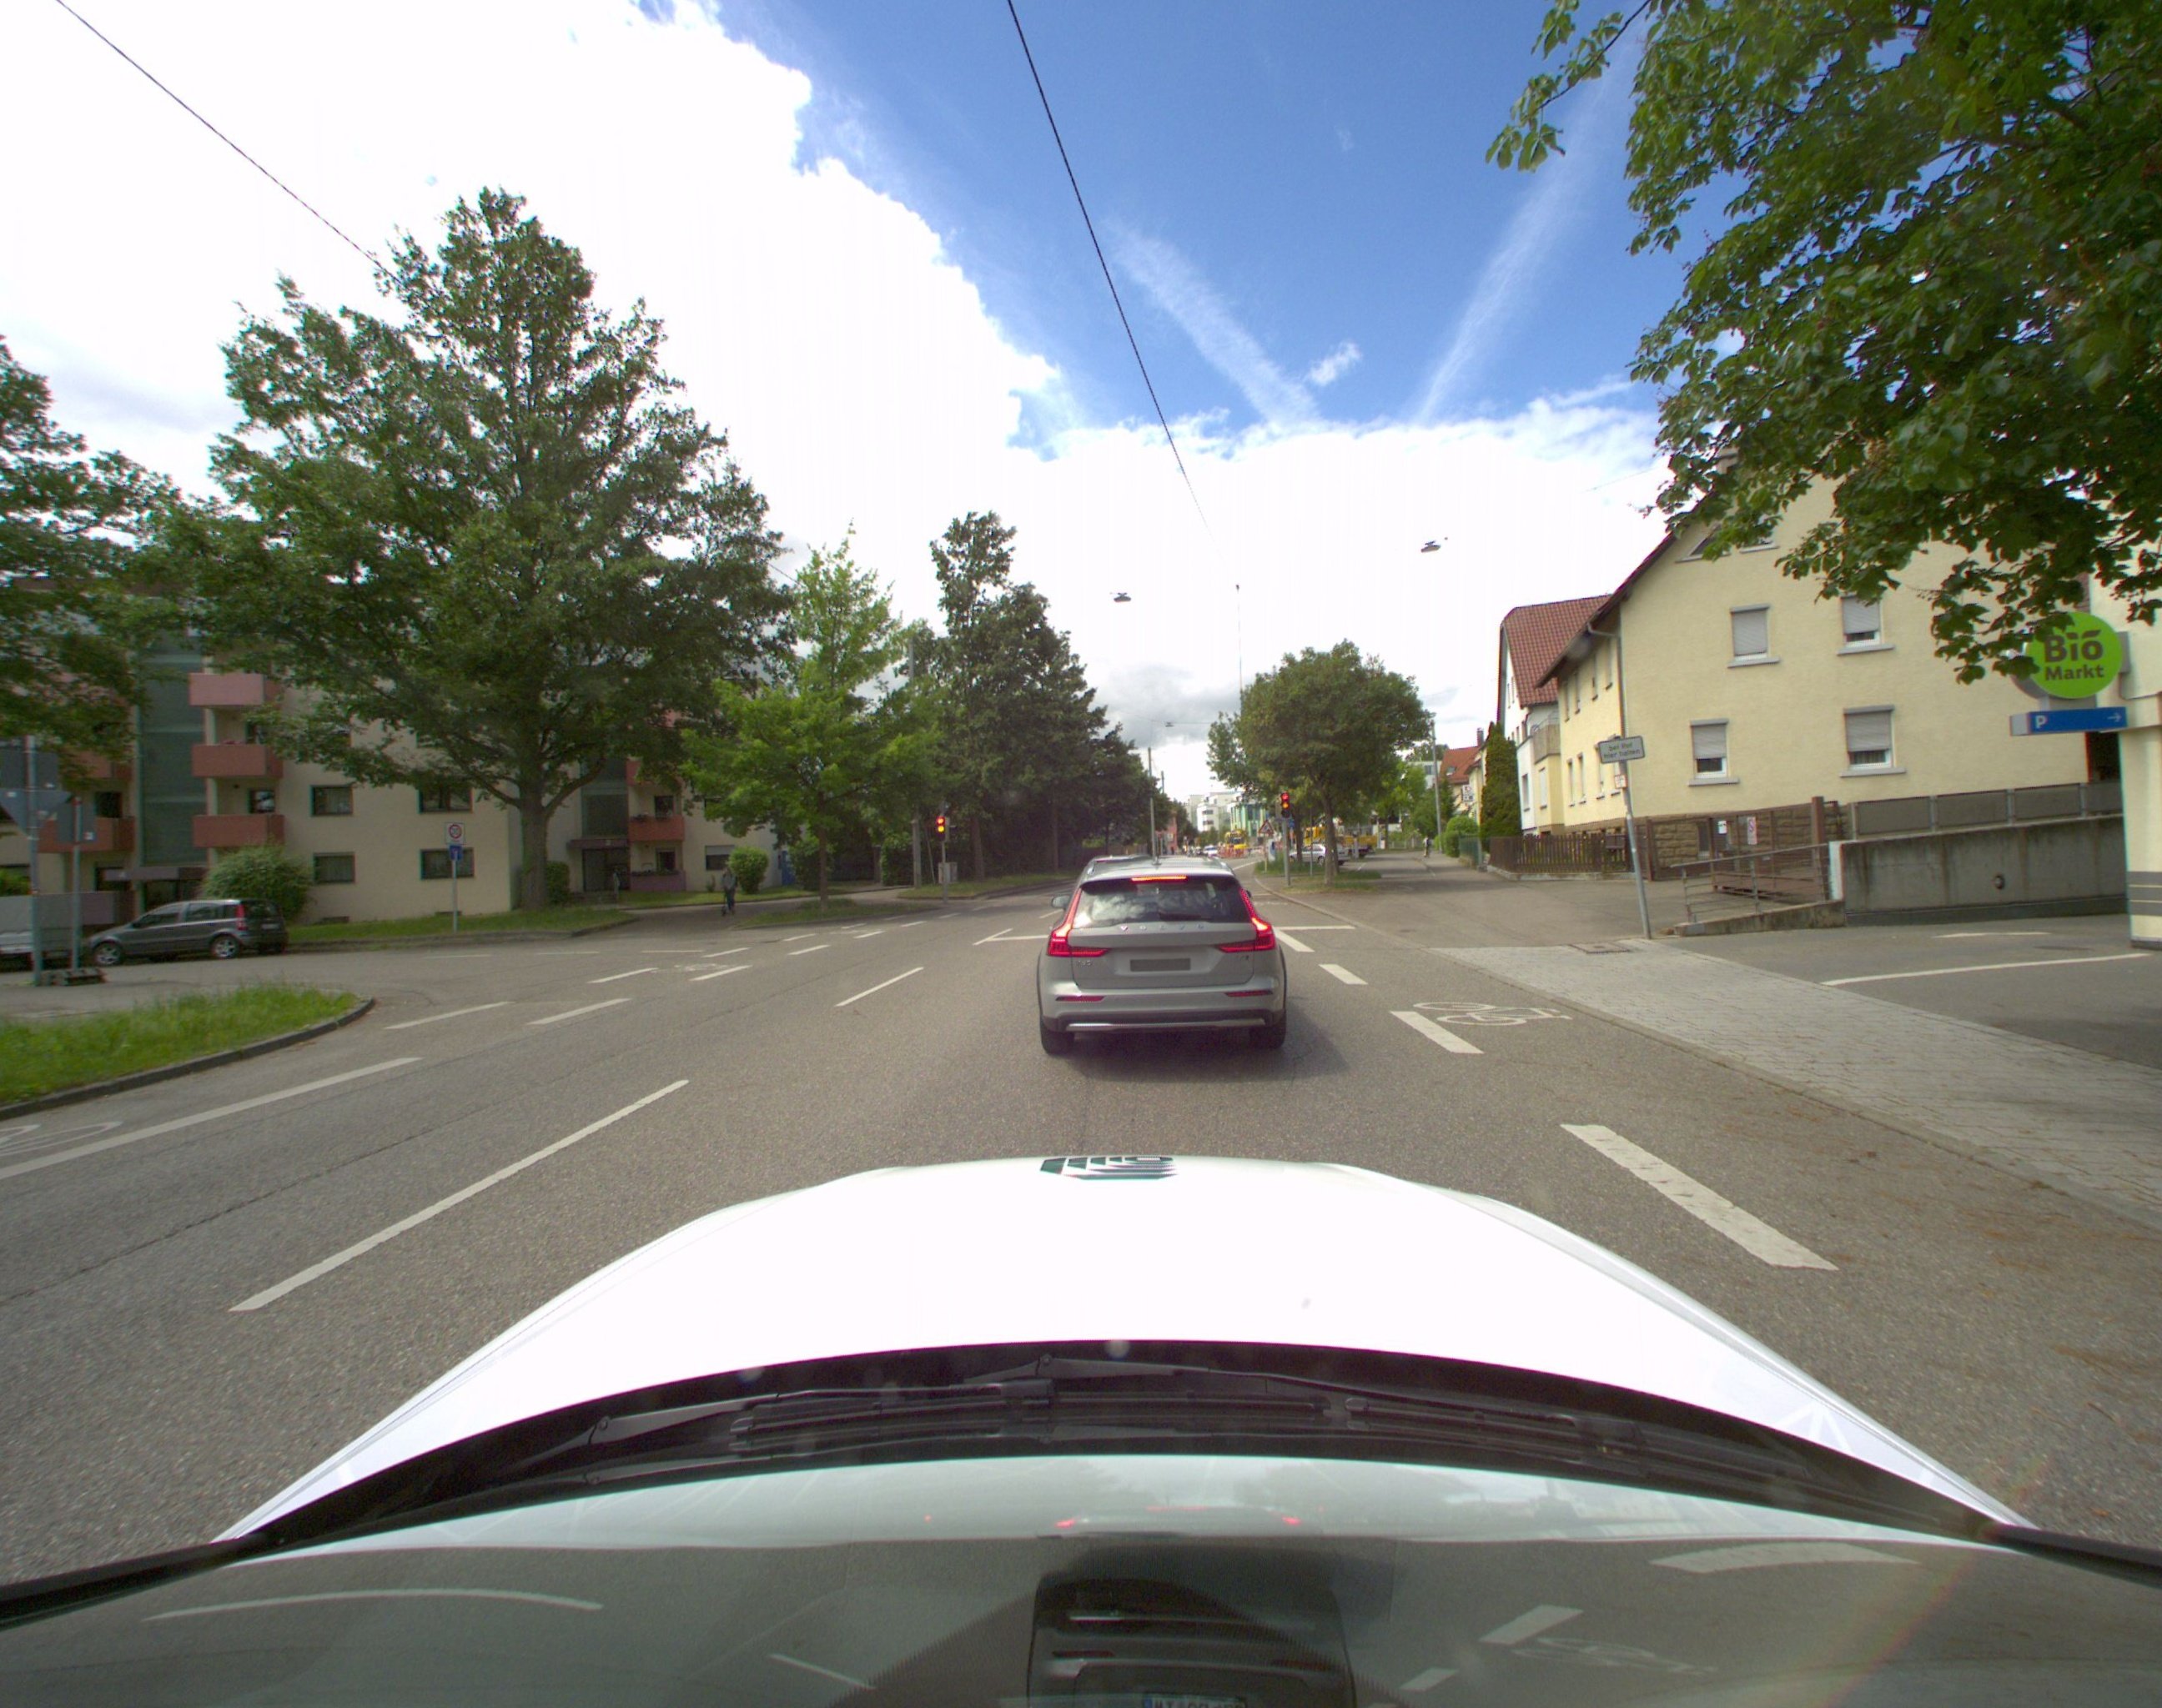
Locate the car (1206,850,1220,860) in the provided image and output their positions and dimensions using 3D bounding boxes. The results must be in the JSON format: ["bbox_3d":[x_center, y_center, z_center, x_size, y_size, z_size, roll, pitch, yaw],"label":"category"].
[{"bbox_3d":[19.647,0.165,120.982,1.816,1.330,4.012,0,-2,12],"label":"car"}]

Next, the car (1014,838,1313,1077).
[{"bbox_3d":[0.654,0.701,7.344,1.920,1.540,4.003,-1,-1,3],"label":"car"}]

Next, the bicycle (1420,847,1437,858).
[{"bbox_3d":[25.570,-0.104,59.933,0.592,0.812,1.754,0,0,1],"label":"bicycle"}]

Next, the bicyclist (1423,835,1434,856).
[{"bbox_3d":[25.572,-0.628,59.971,0.587,1.559,0.567,0,-1,1],"label":"bicyclist"}]

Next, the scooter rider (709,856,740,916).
[{"bbox_3d":[-12.105,1.079,27.641,0.674,2.014,0.794,0,-1,1],"label":"scooter rider"}]

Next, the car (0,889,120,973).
[{"bbox_3d":[-27.050,2.006,20.032,3.990,1.844,1.838,-5,0,-12],"label":"car"}]

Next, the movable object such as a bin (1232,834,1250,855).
[{"bbox_3d":[21.462,-1.228,108.907,2.020,2.642,5.962,-3,0,13],"label":"movable object such as a bin"}]

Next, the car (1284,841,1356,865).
[{"bbox_3d":[15.776,-0.038,54.092,1.773,1.451,4.644,-2,0,-30],"label":"car"}]

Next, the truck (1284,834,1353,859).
[{"bbox_3d":[19.940,-0.582,68.677,2.008,2.014,5.616,0,-1,-35],"label":"truck"}]

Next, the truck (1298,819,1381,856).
[{"bbox_3d":[22.255,-1.317,70.397,2.780,3.008,6.639,0,-1,-32],"label":"truck"}]

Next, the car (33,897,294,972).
[{"bbox_3d":[-22.841,1.968,20.469,3.995,1.452,1.687,-3,0,-16],"label":"car"}]

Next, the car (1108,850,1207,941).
[{"bbox_3d":[1.438,0.704,15.478,1.653,1.508,3.707,0,-1,5],"label":"car"}]

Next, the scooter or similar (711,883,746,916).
[{"bbox_3d":[-11.959,1.544,27.681,0.754,1.083,0.945,0,-1,1],"label":"scooter or similar"}]

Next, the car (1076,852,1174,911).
[{"bbox_3d":[1.339,0.737,22.978,2.088,1.510,4.014,-1,-1,13],"label":"car"}]
